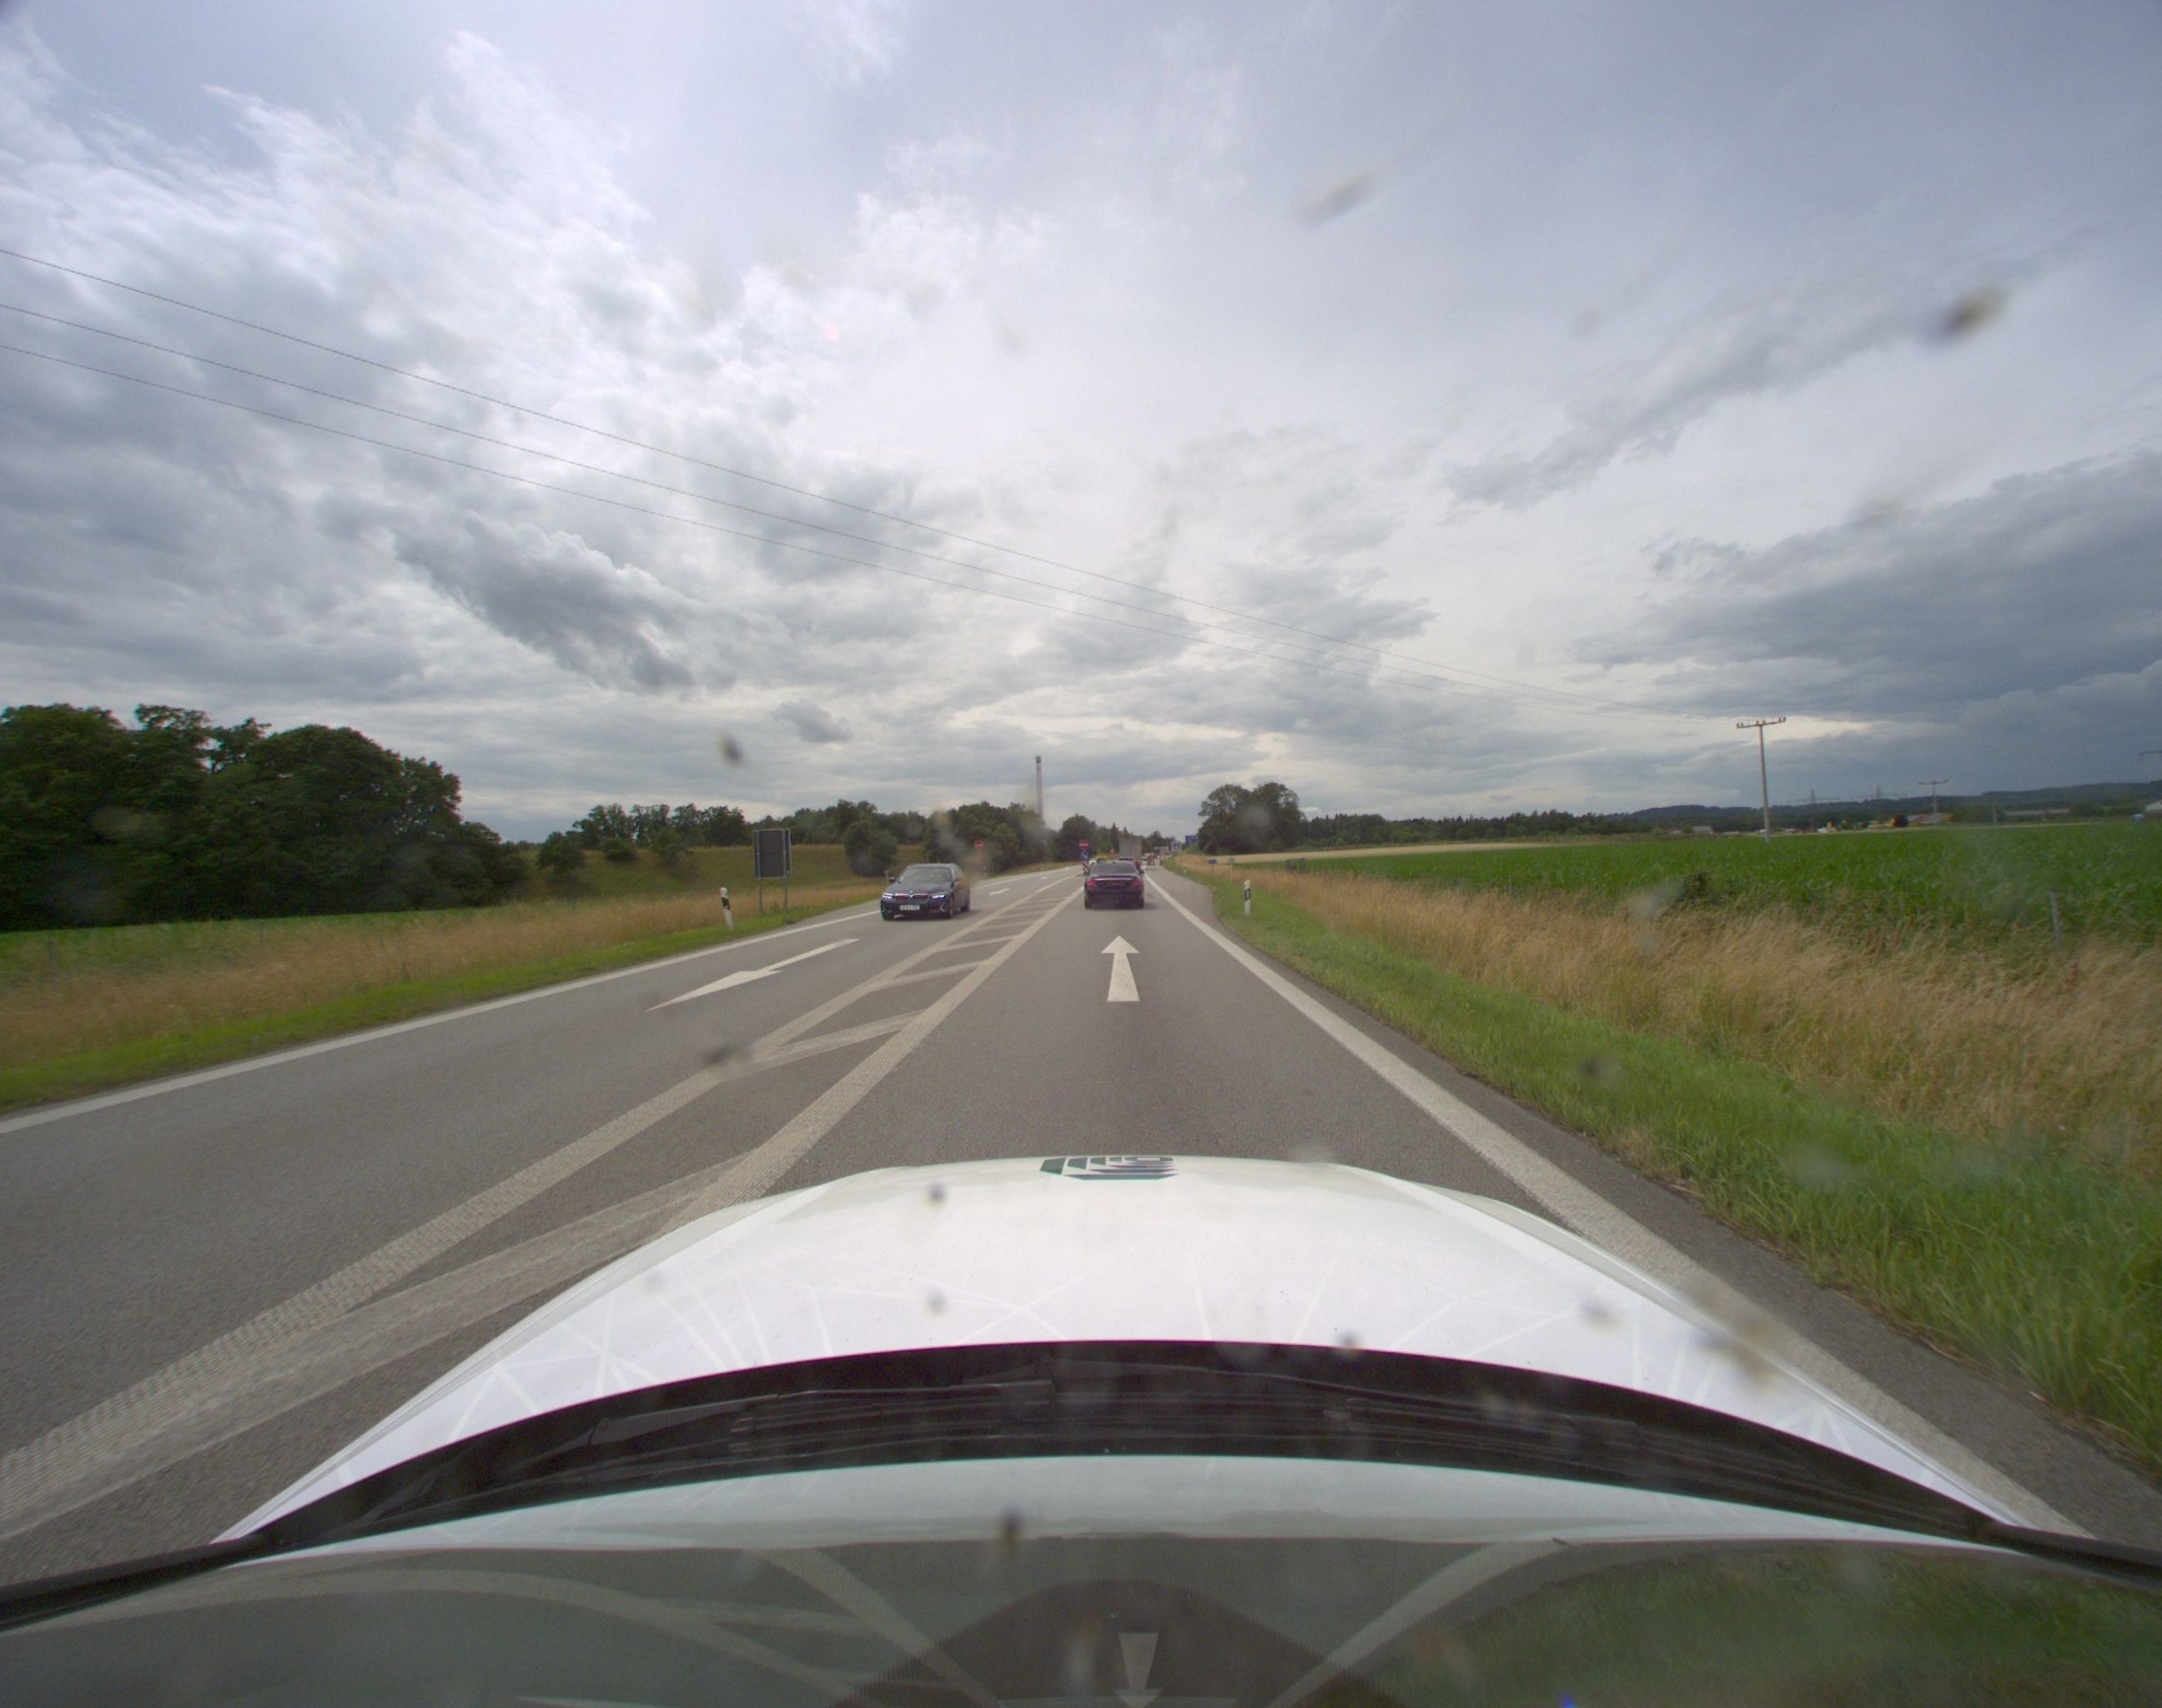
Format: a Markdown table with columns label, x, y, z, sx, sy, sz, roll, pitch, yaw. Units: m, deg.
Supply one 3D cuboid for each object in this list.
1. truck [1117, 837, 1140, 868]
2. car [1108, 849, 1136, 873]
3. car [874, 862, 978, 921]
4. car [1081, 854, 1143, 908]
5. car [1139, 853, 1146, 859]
| label | x | y | z | sx | sy | sz | roll | pitch | yaw |
| --- | --- | --- | --- | --- | --- | --- | --- | --- | --- |
| truck | 5.592 | -0.171 | 94.854 | 2.575 | 3.524 | 4.818 | -1 | -1 | 4 |
| car | 3.496 | 0.619 | 69.445 | 1.989 | 2.014 | 3.995 | 0 | -1 | -3 |
| car | -4.299 | 0.991 | 23.475 | 1.850 | 1.479 | 5.199 | 0 | -1 | 2 |
| car | 1.044 | 0.821 | 25.640 | 1.788 | 1.560 | 4.004 | 0 | -1 | 4 |
| car | 15.811 | 0.517 | 208.116 | 1.643 | 1.396 | 3.707 | 0 | -1 | 2 |
